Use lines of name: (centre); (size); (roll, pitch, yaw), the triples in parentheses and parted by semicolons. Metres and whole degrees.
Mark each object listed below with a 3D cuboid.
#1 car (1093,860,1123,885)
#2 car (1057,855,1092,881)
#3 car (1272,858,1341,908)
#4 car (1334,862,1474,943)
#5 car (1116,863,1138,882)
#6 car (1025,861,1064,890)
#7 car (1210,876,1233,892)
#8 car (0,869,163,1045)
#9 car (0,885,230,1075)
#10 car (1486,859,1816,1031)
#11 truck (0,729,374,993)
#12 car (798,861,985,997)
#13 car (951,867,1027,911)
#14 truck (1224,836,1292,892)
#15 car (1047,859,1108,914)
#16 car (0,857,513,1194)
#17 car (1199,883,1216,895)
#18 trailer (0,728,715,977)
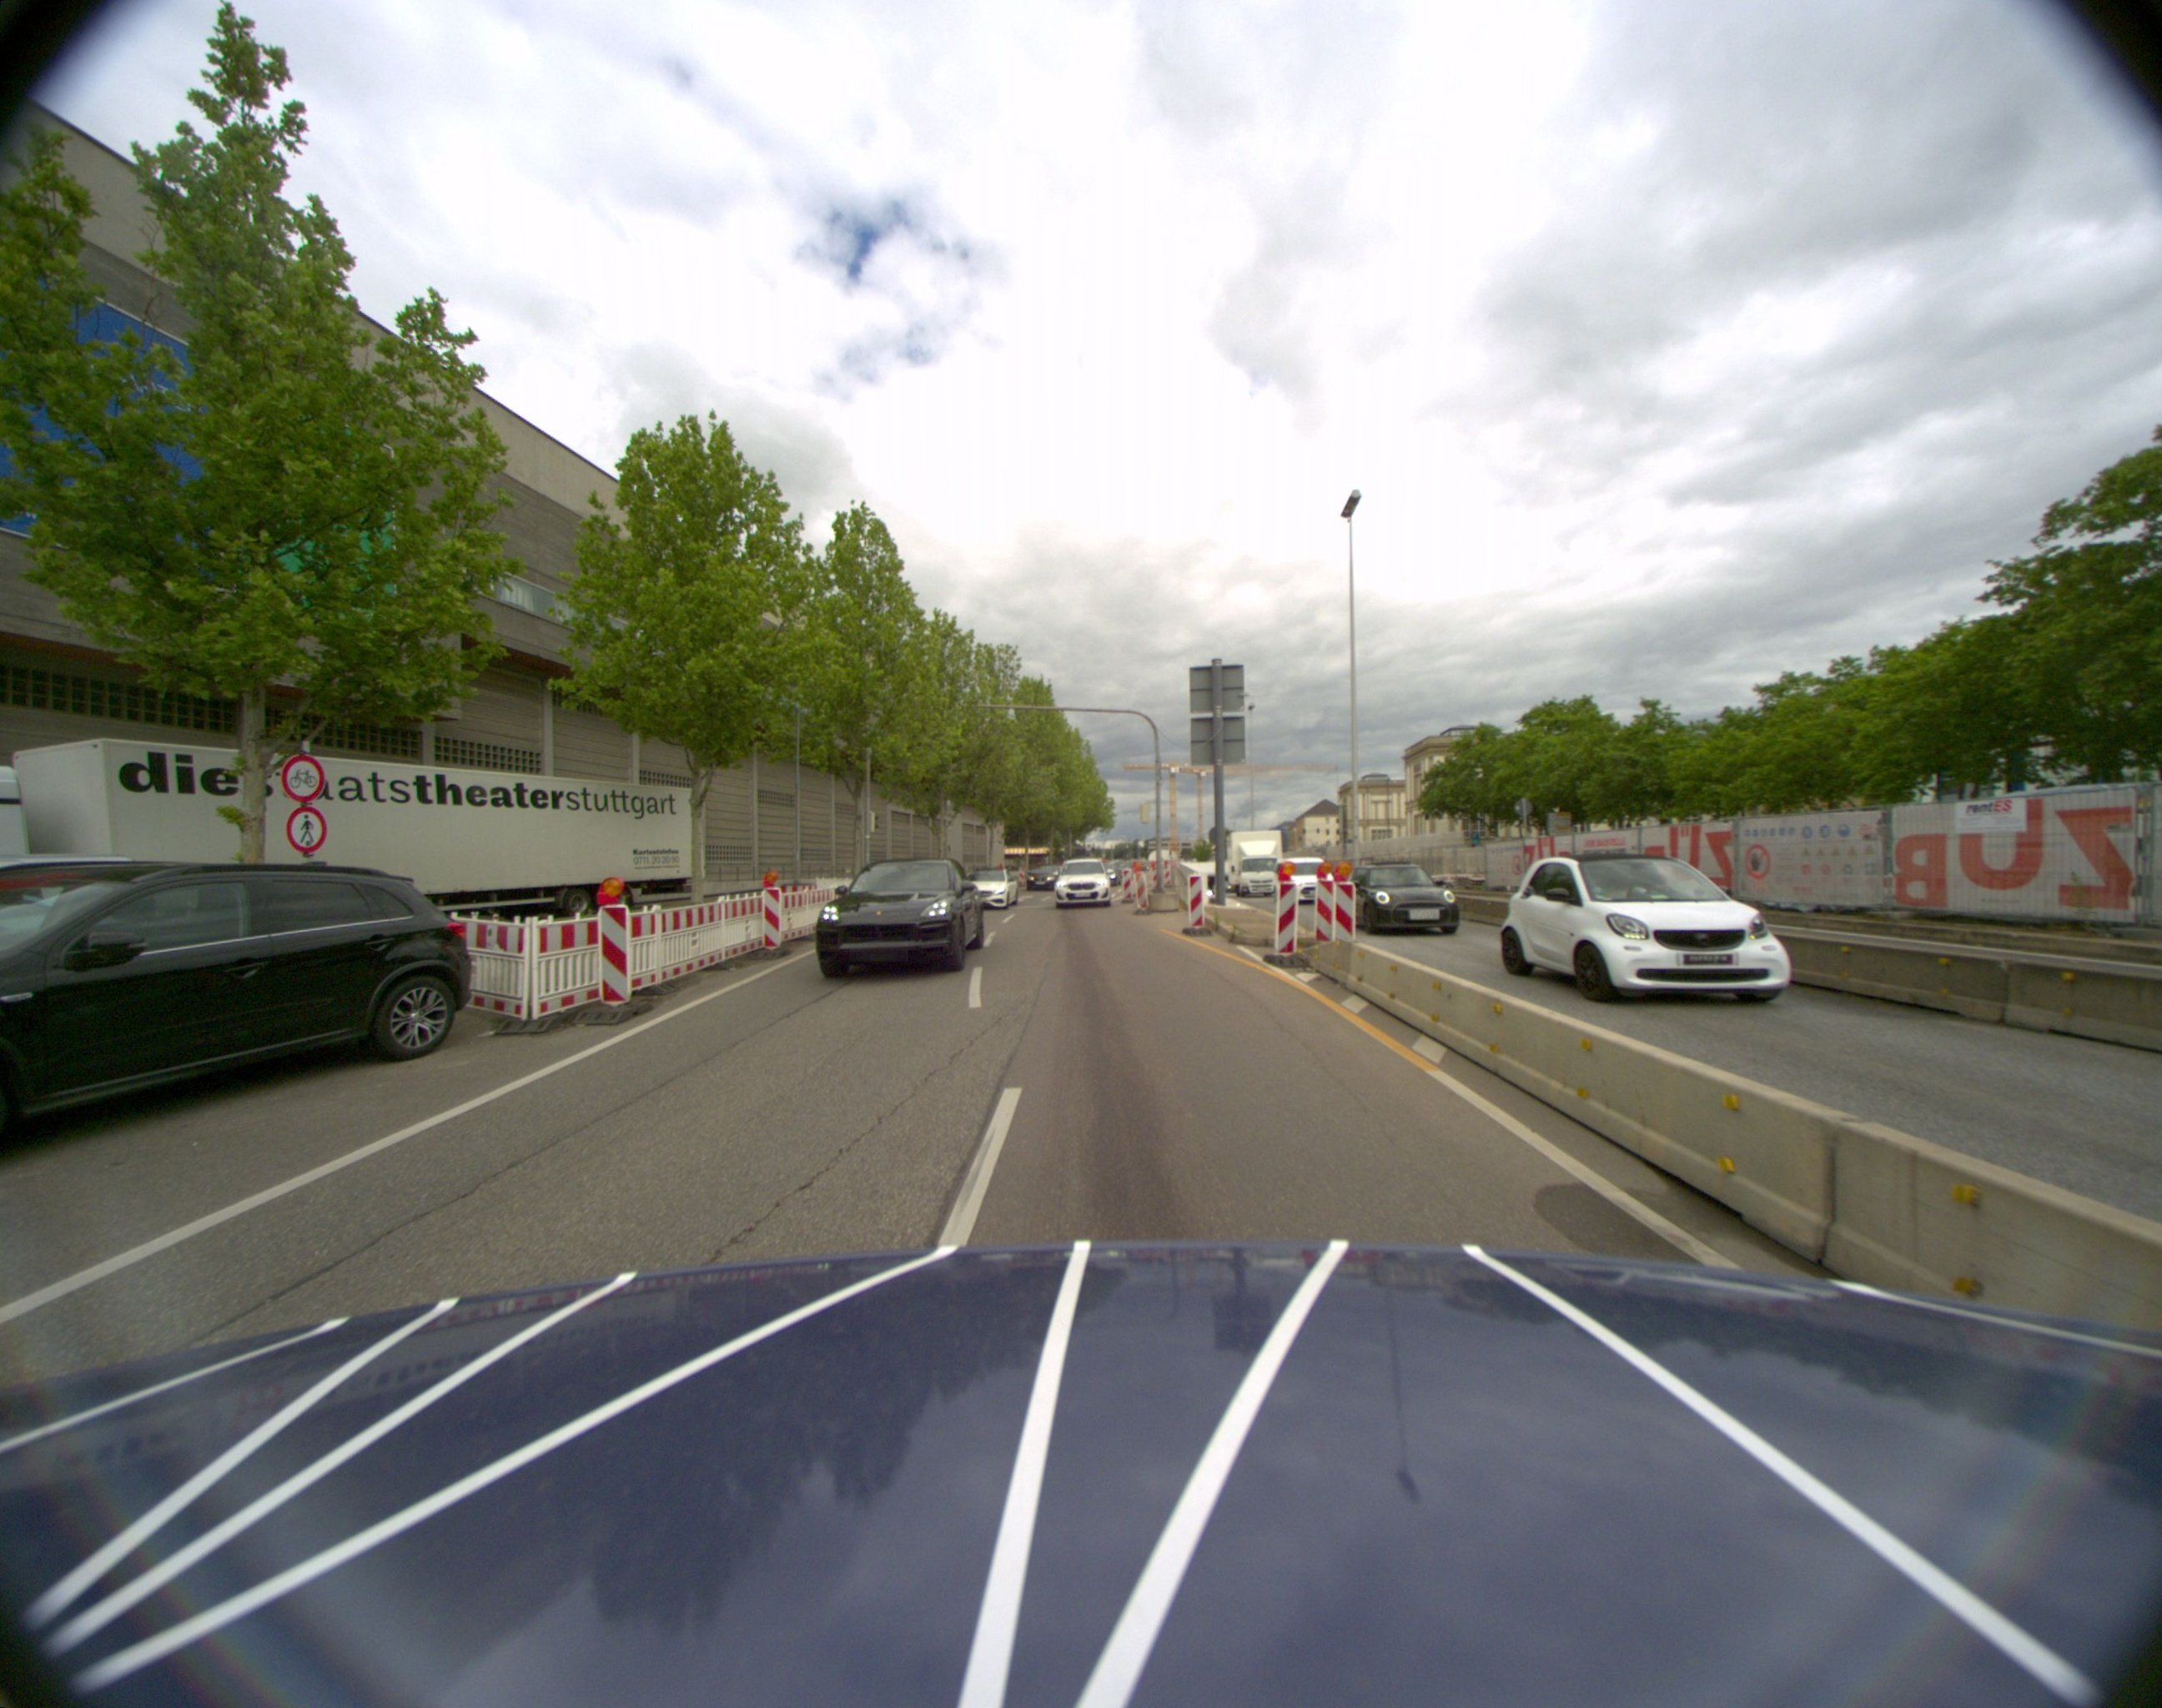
car: (1.724, 1.123, 47.734); (1.611, 1.464, 3.624); (-2, 0, 6)
car: (-0.431, 1.056, 58.421); (1.951, 1.914, 4.402); (-1, 0, 9)
car: (8.698, 1.057, 29.710); (1.841, 1.751, 4.483); (-1, 0, 7)
car: (6.699, 0.943, 16.210); (1.651, 1.430, 3.937); (-2, 0, 6)
car: (3.789, 1.528, 62.549); (1.611, 1.464, 3.624); (-2, 0, 6)
car: (-2.023, 1.190, 43.048); (1.611, 1.464, 3.624); (-2, 0, 6)
car: (15.300, 3.277, 82.947); (1.872, 1.499, 4.000); (-3, 0, 2)
car: (-12.106, 1.133, 6.804); (1.809, 1.773, 4.623); (-4, 0, 7)
car: (-9.829, 1.114, 6.205); (1.583, 1.521, 3.505); (-2, 0, 7)
car: (6.074, 0.864, 8.546); (1.633, 1.545, 3.004); (-2, 0, 6)
truck: (-17.754, 0.142, 13.634); (3.136, 4.060, 6.580); (-2, 0, 16)
car: (-2.697, 0.978, 11.875); (1.908, 1.648, 4.200); (-2, 0, -2)
car: (-3.257, 1.212, 27.706); (1.934, 1.368, 4.001); (-2, 0, 4)
truck: (9.476, 0.497, 41.403); (2.976, 2.757, 7.260); (-1, 0, 8)
car: (-0.047, 1.057, 26.441); (1.856, 1.618, 4.907); (-2, 0, 2)
car: (-6.406, 0.930, 4.946); (1.809, 1.728, 4.487); (-2, -1, 4)
car: (17.579, 4.852, 105.661); (1.872, 1.499, 4.000); (-3, 0, 2)
trailer: (-16.050, -0.063, 19.685); (3.152, 4.077, 13.987); (-3, 0, 16)
